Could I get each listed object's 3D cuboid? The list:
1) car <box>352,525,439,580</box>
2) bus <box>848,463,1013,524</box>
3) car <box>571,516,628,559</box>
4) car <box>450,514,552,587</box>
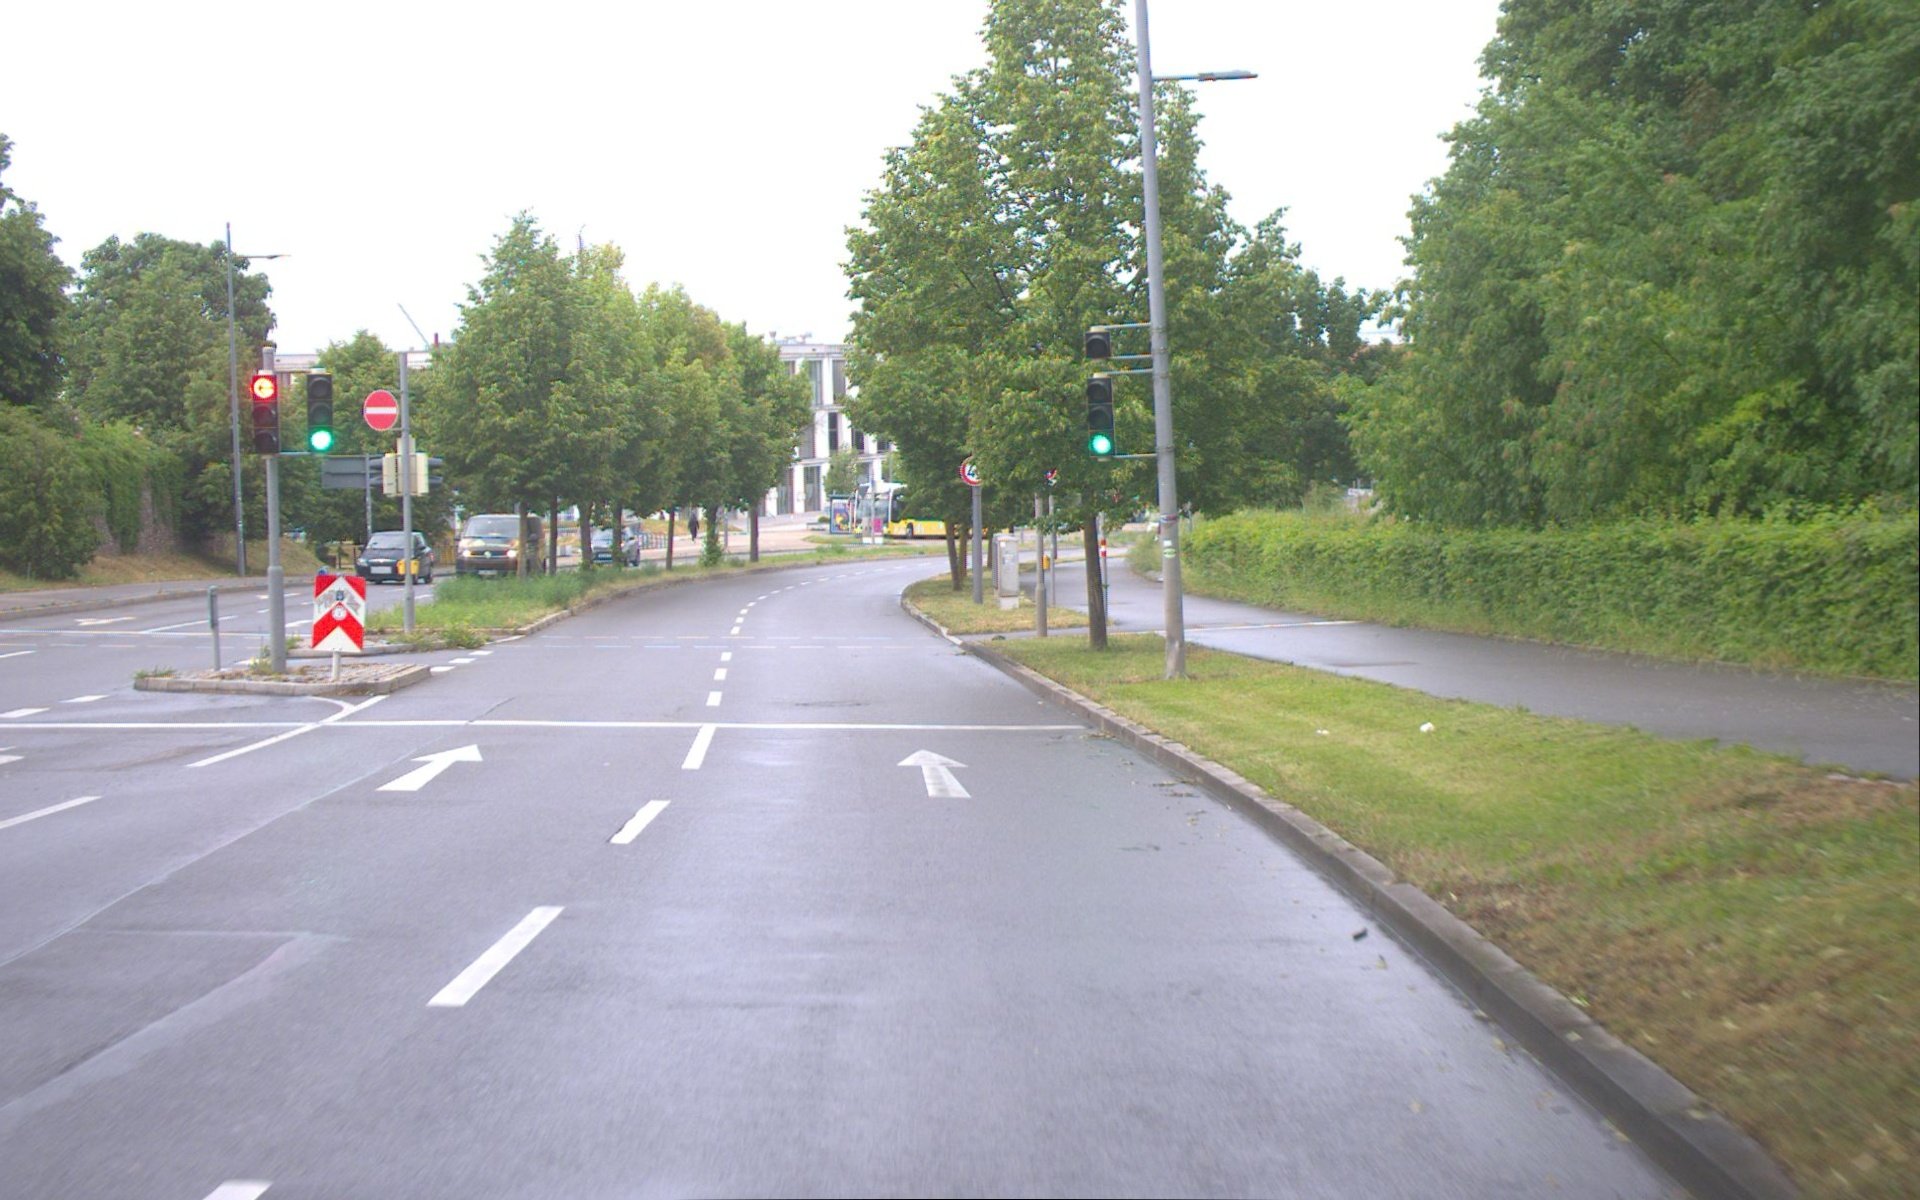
[{"bbox_3d":[-15.687,-1.340,95.671,1.598,1.484,4.000,1,1,3],"label":"car"},{"bbox_3d":[-1.677,-6.592,214.878,2.788,3.345,18.202,1,0,25],"label":"bus"},{"bbox_3d":[-13.768,-2.399,131.488,1.686,1.534,2.916,1,2,4],"label":"car"},{"bbox_3d":[-12.371,-1.350,92.987,2.013,1.912,5.095,1,1,0],"label":"car"}]
